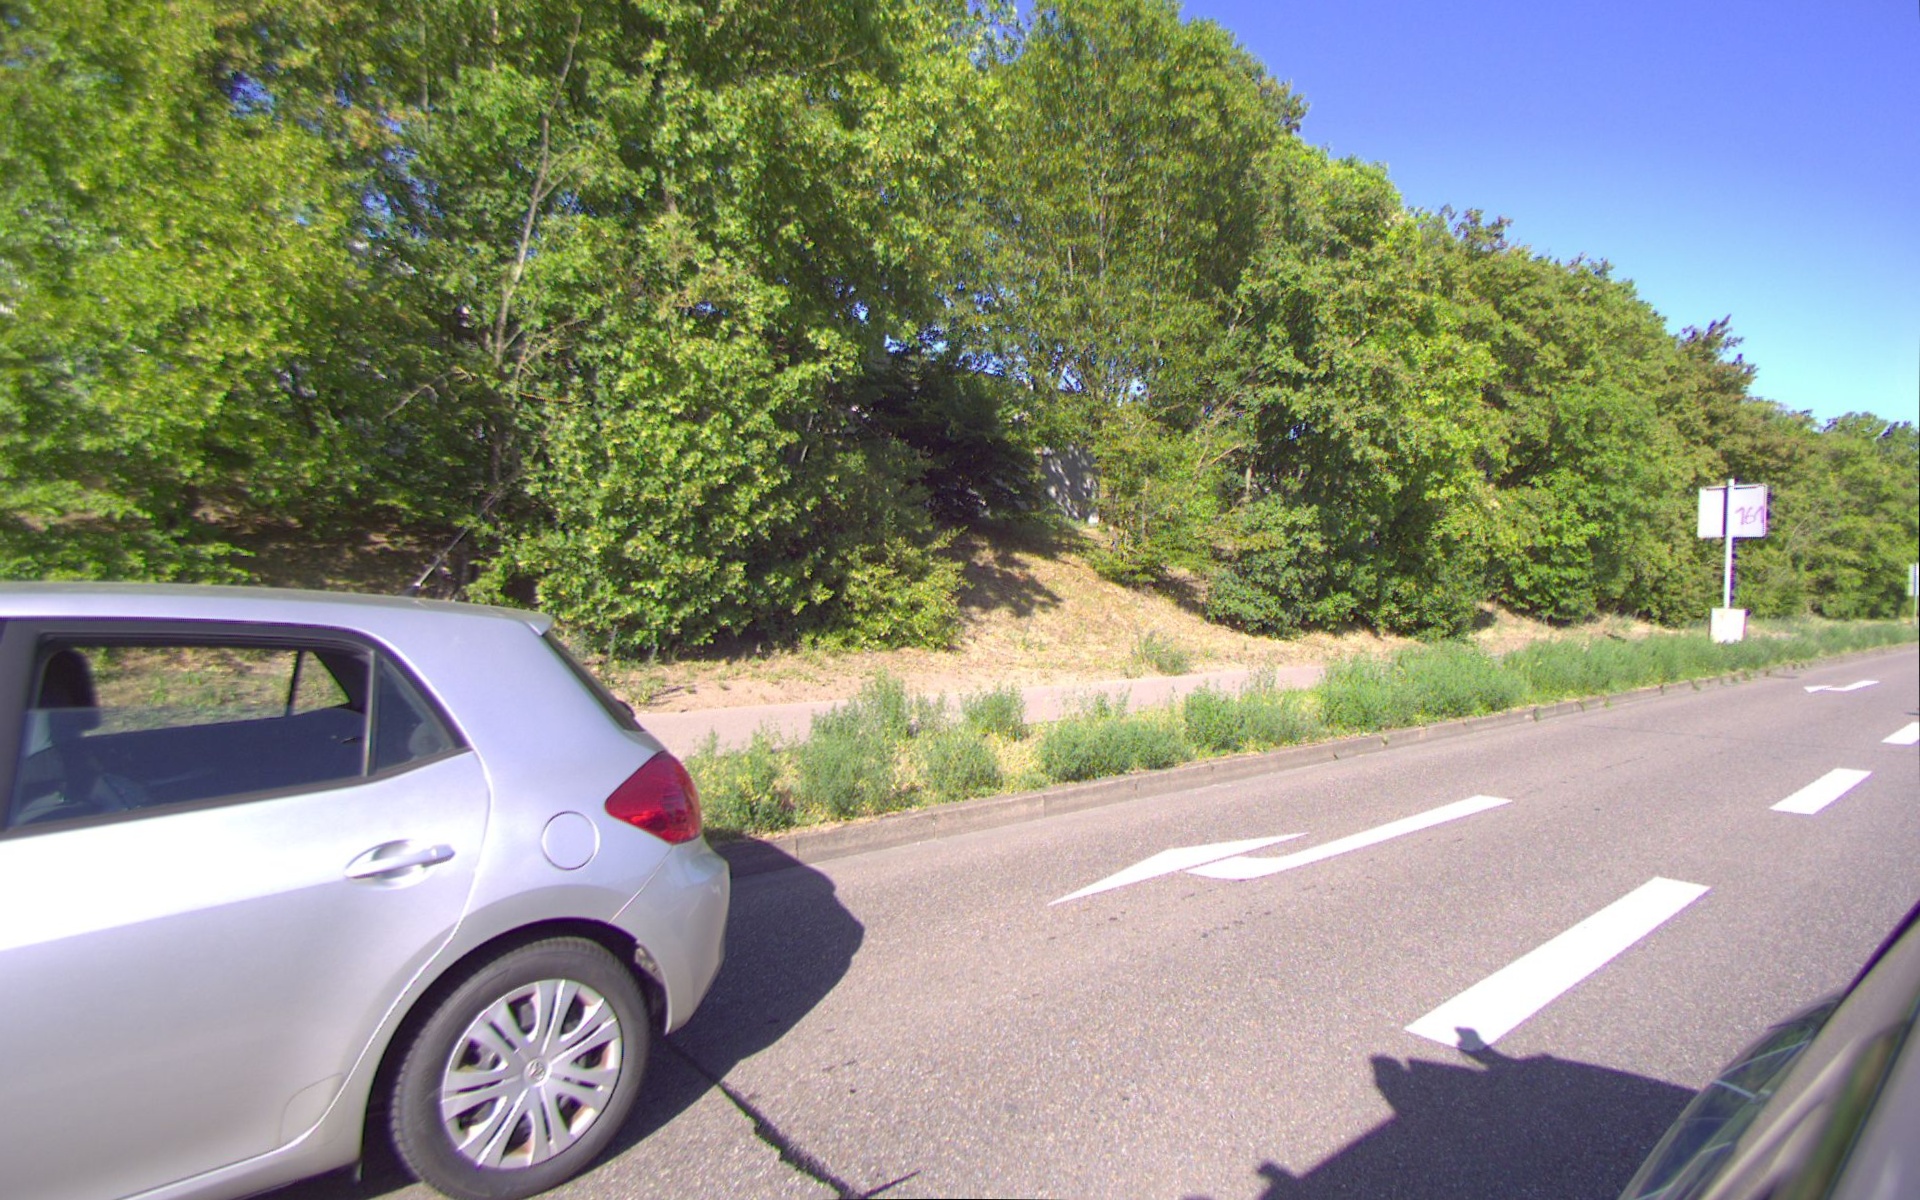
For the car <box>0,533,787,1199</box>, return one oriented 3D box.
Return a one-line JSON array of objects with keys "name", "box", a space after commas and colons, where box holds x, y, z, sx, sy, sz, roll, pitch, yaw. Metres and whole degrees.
[{"name": "car", "box": [-2.598, 0.652, 2.271, 4.036, 1.556, 1.786, 0, 0, -41]}]
